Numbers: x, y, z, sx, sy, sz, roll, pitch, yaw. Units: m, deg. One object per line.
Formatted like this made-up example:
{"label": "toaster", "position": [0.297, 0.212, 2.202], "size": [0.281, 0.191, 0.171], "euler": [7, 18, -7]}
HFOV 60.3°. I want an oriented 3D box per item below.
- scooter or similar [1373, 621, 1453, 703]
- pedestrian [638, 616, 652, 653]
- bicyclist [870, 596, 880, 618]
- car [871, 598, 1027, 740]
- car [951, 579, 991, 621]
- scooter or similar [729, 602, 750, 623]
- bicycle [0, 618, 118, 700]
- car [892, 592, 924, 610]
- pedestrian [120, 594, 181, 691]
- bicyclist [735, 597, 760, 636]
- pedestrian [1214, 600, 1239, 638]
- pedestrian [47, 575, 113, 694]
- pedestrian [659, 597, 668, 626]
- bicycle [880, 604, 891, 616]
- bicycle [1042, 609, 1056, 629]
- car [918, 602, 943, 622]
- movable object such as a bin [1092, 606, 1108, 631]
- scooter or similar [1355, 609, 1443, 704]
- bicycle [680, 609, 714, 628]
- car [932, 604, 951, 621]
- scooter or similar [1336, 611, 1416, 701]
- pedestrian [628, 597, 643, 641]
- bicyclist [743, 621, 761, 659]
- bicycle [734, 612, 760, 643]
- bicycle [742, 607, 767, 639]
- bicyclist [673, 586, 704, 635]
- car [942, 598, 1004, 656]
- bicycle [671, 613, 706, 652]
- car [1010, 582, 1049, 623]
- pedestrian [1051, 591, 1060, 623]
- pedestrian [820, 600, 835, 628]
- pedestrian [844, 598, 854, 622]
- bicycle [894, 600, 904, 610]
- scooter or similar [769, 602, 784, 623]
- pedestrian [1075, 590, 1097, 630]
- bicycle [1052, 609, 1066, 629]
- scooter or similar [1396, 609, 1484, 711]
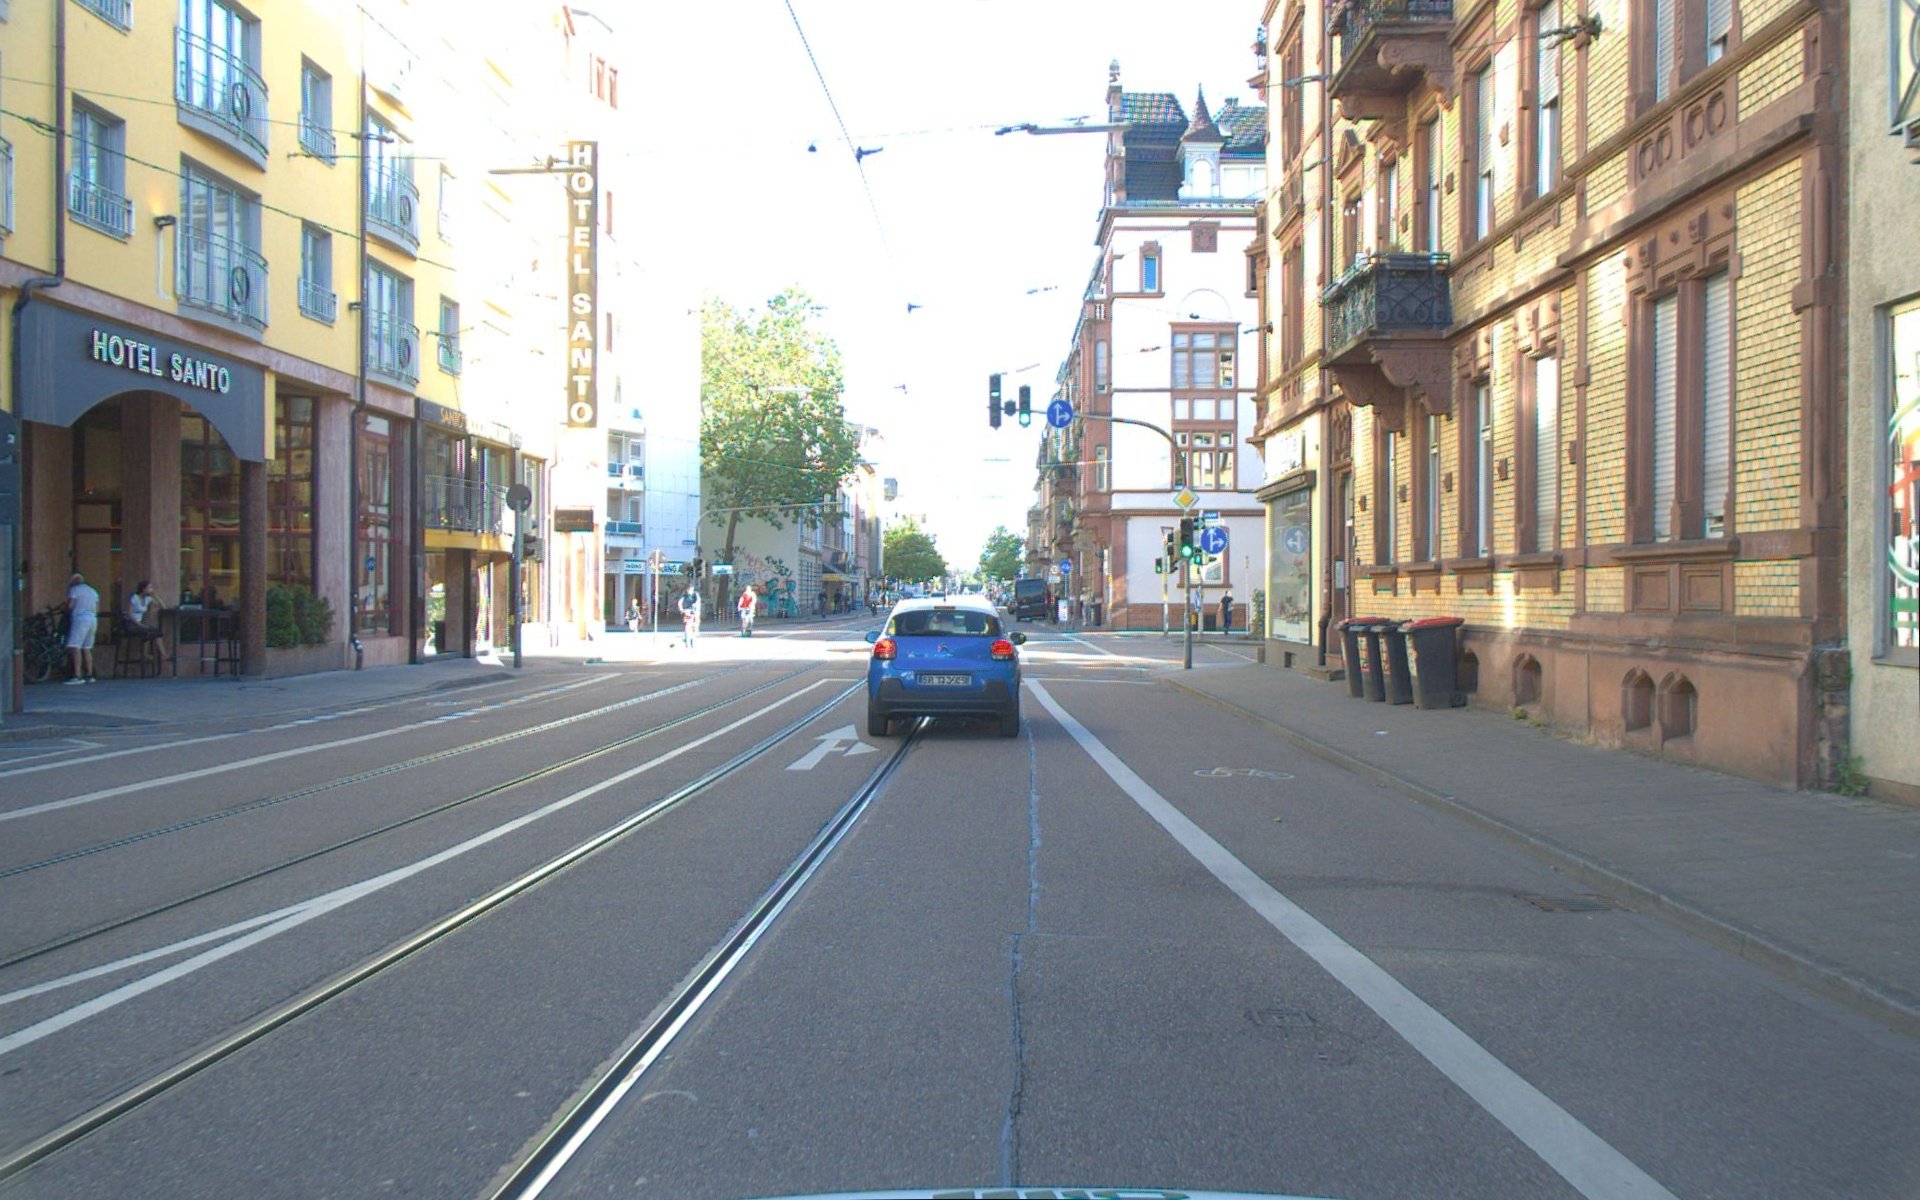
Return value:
{"label": "scooter or similar", "position": [5.824, 0.790, 21.291], "size": [0.774, 0.974, 0.680], "euler": [-4, 0, -1]}
{"label": "pedestrian", "position": [-13.688, 1.501, 71.920], "size": [0.531, 1.579, 0.516], "euler": [0, 0, -1]}
{"label": "bicyclist", "position": [-5.954, 0.475, 115.672], "size": [0.668, 1.509, 0.778], "euler": [0, 0, 0]}
{"label": "car", "position": [-0.142, 0.731, 19.488], "size": [1.640, 1.503, 3.999], "euler": [0, 0, -1]}
{"label": "car", "position": [0.545, 0.014, 83.596], "size": [1.953, 2.049, 3.999], "euler": [0, 0, -1]}
{"label": "scooter or similar", "position": [-13.527, 0.784, 101.525], "size": [1.206, 1.280, 0.765], "euler": [0, 0, -12]}
{"label": "bicycle", "position": [-14.231, 0.910, 26.189], "size": [0.569, 1.224, 2.082], "euler": [0, 0, 5]}
{"label": "car", "position": [-7.702, 0.193, 243.595], "size": [4.254, 2.626, 2.192], "euler": [0, 0, -25]}
{"label": "pedestrian", "position": [-13.345, 0.690, 27.274], "size": [0.690, 1.574, 0.601], "euler": [0, 0, 5]}
{"label": "bicyclist", "position": [-7.691, 0.589, 59.804], "size": [0.720, 1.405, 1.468], "euler": [0, 0, -1]}
{"label": "pedestrian", "position": [10.378, 0.729, 64.394], "size": [0.918, 1.482, 0.823], "euler": [0, 0, 13]}
{"label": "pedestrian", "position": [-13.685, 0.530, 25.744], "size": [0.549, 1.801, 0.723], "euler": [1, -1, 5]}
{"label": "pedestrian", "position": [-18.235, 0.712, 101.728], "size": [0.446, 1.748, 0.547], "euler": [0, 0, -1]}
{"label": "bicycle", "position": [-8.765, 1.179, 194.889], "size": [1.098, 1.342, 3.640], "euler": [0, 0, -5]}
{"label": "bicycle", "position": [4.451, 0.951, 82.711], "size": [0.422, 0.964, 1.761], "euler": [0, 0, -6]}
{"label": "car", "position": [-2.337, 0.926, 131.177], "size": [1.945, 1.528, 4.308], "euler": [0, 0, 0]}
{"label": "movable object such as a bin", "position": [6.518, 0.847, 77.103], "size": [0.652, 1.174, 0.594], "euler": [0, 0, -2]}
{"label": "scooter or similar", "position": [5.828, 0.740, 22.004], "size": [0.914, 1.168, 0.650], "euler": [-4, 0, -1]}
{"label": "bicycle", "position": [-15.166, 1.078, 95.451], "size": [1.878, 1.053, 0.664], "euler": [0, 0, 27]}
{"label": "car", "position": [-1.936, 1.255, 170.199], "size": [1.953, 1.774, 4.562], "euler": [0, 0, -1]}
{"label": "scooter or similar", "position": [5.777, 0.771, 22.996], "size": [0.879, 1.168, 0.547], "euler": [-4, 0, -1]}
{"label": "pedestrian", "position": [-10.715, 0.636, 54.607], "size": [0.395, 1.435, 0.516], "euler": [0, 0, -1]}
{"label": "bicyclist", "position": [-7.921, 1.520, 62.948], "size": [0.578, 1.400, 0.679], "euler": [0, 0, -1]}
{"label": "bicycle", "position": [-7.709, 1.002, 59.909], "size": [0.716, 1.084, 2.061], "euler": [0, 0, -1]}
{"label": "bicycle", "position": [-7.801, 0.867, 62.981], "size": [0.716, 1.204, 2.061], "euler": [0, 0, -1]}
{"label": "bicyclist", "position": [-7.976, 0.305, 48.682], "size": [0.709, 1.405, 1.227], "euler": [0, 0, -1]}
{"label": "car", "position": [0.332, 0.716, 45.812], "size": [1.633, 1.504, 3.999], "euler": [0, 0, -1]}
{"label": "bicycle", "position": [-7.987, 0.937, 48.692], "size": [0.716, 1.107, 2.061], "euler": [0, 0, -1]}
{"label": "car", "position": [4.280, 0.167, 103.117], "size": [2.225, 2.479, 5.720], "euler": [0, 0, 0]}
{"label": "pedestrian", "position": [6.297, 0.459, 109.216], "size": [0.573, 2.049, 0.823], "euler": [0, 0, -1]}
{"label": "pedestrian", "position": [-8.585, 0.889, 107.025], "size": [0.668, 1.796, 1.026], "euler": [0, 0, 11]}
{"label": "pedestrian", "position": [-8.138, 0.746, 121.754], "size": [0.696, 1.795, 0.570], "euler": [0, 0, -1]}
{"label": "bicycle", "position": [-7.185, 0.621, 194.697], "size": [1.098, 1.166, 3.640], "euler": [0, 0, -5]}
{"label": "scooter or similar", "position": [-11.442, 0.789, 103.077], "size": [0.772, 1.294, 1.074], "euler": [0, 0, -1]}
{"label": "pedestrian", "position": [6.044, 0.489, 79.124], "size": [0.692, 1.810, 0.673], "euler": [-11, 0, -1]}
{"label": "bicycle", "position": [4.957, 0.953, 82.782], "size": [0.422, 0.964, 1.761], "euler": [0, 0, -6]}
{"label": "scooter or similar", "position": [5.889, 0.726, 20.335], "size": [0.774, 1.168, 0.790], "euler": [-4, 0, -1]}
